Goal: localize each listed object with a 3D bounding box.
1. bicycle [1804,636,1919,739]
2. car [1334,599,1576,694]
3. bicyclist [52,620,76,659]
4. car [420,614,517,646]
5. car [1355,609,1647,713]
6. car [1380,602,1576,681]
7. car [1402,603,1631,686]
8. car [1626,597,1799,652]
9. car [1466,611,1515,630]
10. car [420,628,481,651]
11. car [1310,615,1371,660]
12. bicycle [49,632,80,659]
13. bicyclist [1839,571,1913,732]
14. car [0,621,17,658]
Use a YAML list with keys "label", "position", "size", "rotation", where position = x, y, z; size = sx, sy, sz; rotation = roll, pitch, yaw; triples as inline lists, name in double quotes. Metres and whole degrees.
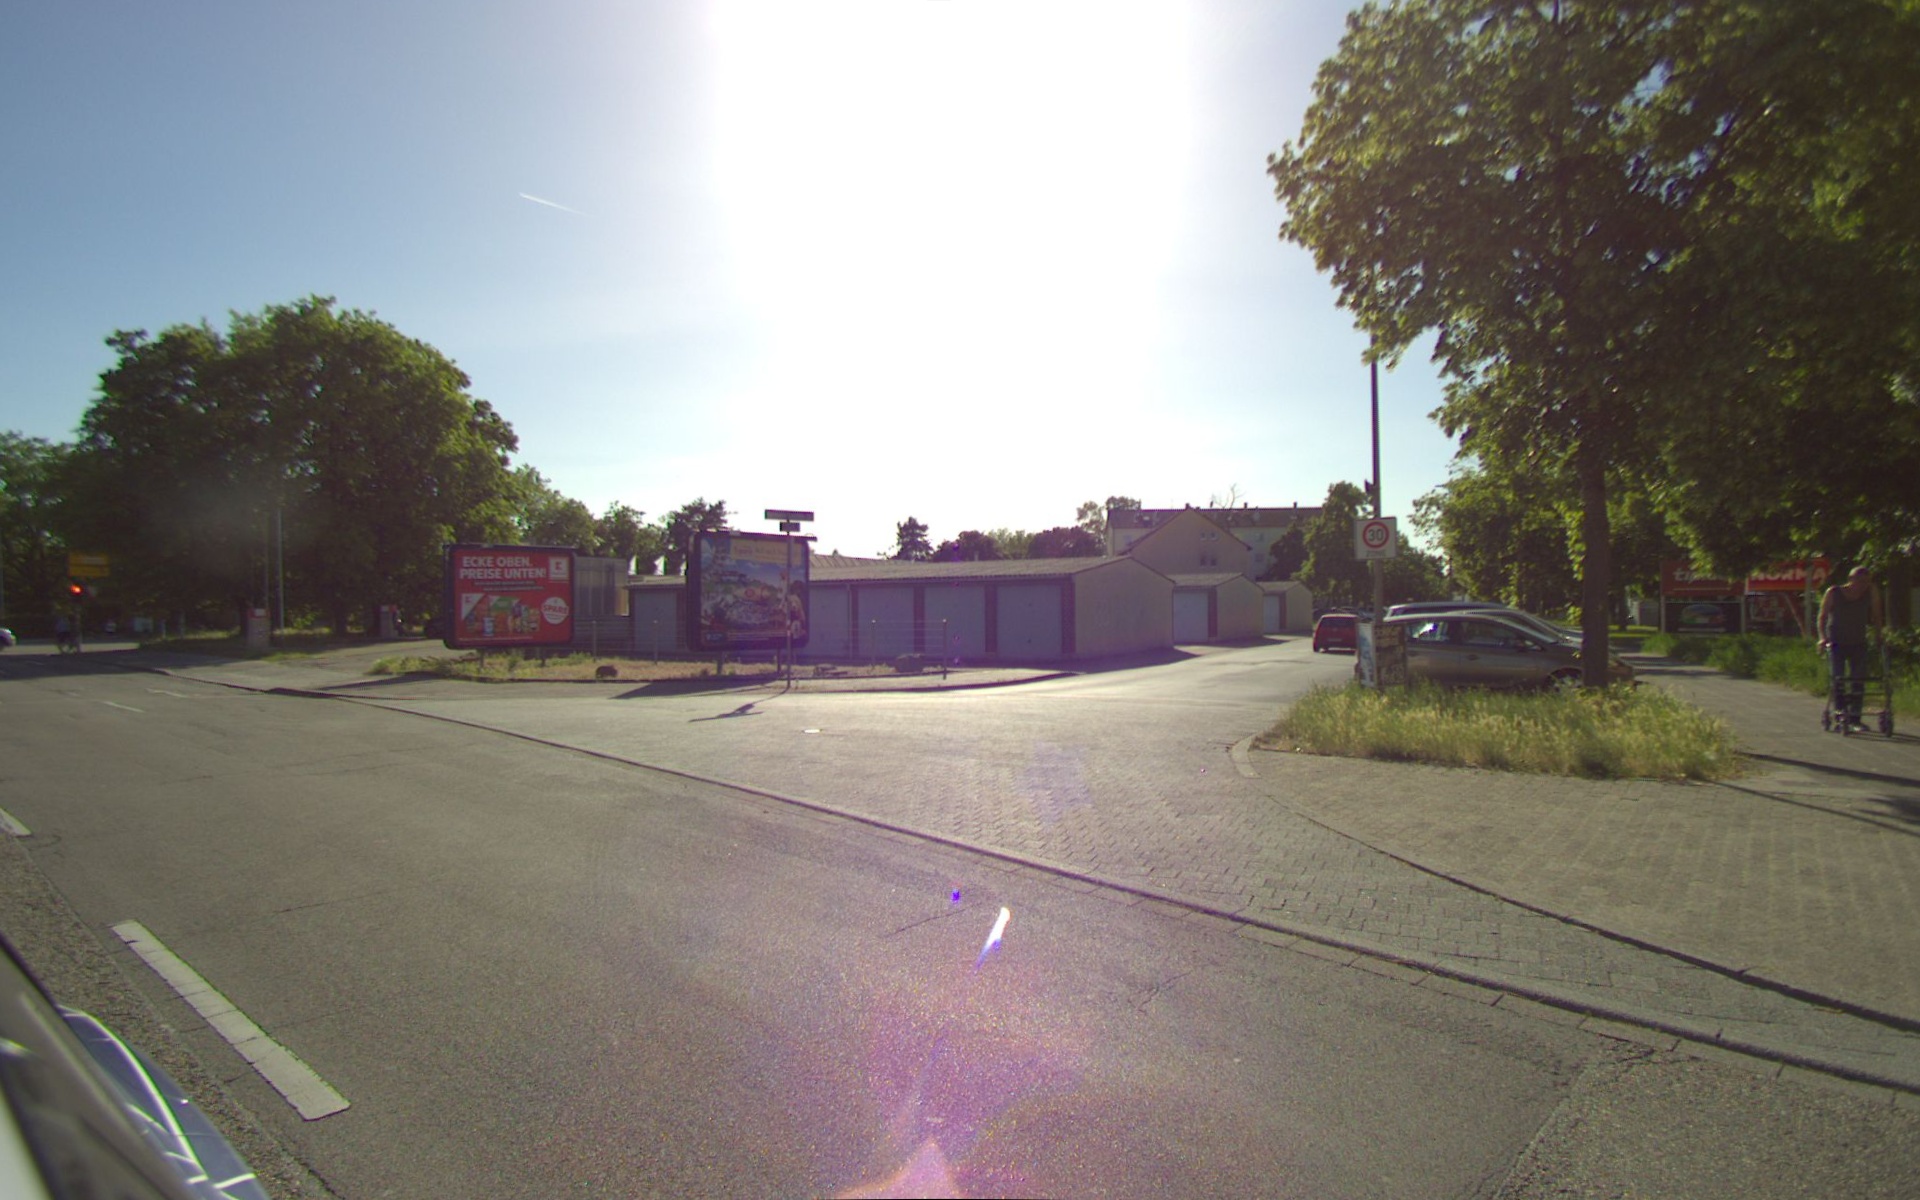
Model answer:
- label: "bicycle"
  position: [9.821, 0.892, 10.830]
  size: [0.402, 1.019, 1.618]
  rotation: [0, -2, 9]
- label: "car"
  position: [9.176, 0.902, 19.031]
  size: [3.859, 1.634, 1.688]
  rotation: [-3, -3, 25]
- label: "bicyclist"
  position: [-38.979, 1.723, 44.027]
  size: [0.828, 1.654, 0.536]
  rotation: [-2, -3, 35]
- label: "car"
  position: [-24.127, 1.476, 49.772]
  size: [3.950, 1.386, 1.757]
  rotation: [2, -1, 5]
- label: "car"
  position: [8.441, 0.951, 16.073]
  size: [3.863, 1.475, 1.718]
  rotation: [-2, -3, 28]
- label: "car"
  position: [11.927, 0.976, 23.426]
  size: [3.865, 1.692, 1.686]
  rotation: [-2, -3, 29]
- label: "car"
  position: [11.167, 0.940, 20.625]
  size: [3.859, 1.475, 1.688]
  rotation: [-4, -4, 25]
- label: "car"
  position: [22.028, 0.771, 29.809]
  size: [3.865, 1.517, 1.491]
  rotation: [-2, -3, 29]
- label: "car"
  position: [49.357, 1.915, 94.184]
  size: [3.981, 1.632, 1.639]
  rotation: [-1, -4, 28]
- label: "car"
  position: [-38.203, 2.928, 76.012]
  size: [1.685, 1.450, 3.875]
  rotation: [1, 1, 28]
- label: "car"
  position: [14.590, 1.383, 38.702]
  size: [2.006, 1.580, 4.358]
  rotation: [1, -1, 23]
- label: "bicycle"
  position: [-38.859, 1.988, 43.911]
  size: [2.021, 1.150, 0.522]
  rotation: [-2, -3, 35]
- label: "bicyclist"
  position: [9.825, 0.548, 10.866]
  size: [0.378, 1.698, 0.388]
  rotation: [-1, -2, 9]
- label: "car"
  position: [-50.876, 1.970, 50.796]
  size: [1.855, 1.855, 4.818]
  rotation: [-1, -3, 28]
